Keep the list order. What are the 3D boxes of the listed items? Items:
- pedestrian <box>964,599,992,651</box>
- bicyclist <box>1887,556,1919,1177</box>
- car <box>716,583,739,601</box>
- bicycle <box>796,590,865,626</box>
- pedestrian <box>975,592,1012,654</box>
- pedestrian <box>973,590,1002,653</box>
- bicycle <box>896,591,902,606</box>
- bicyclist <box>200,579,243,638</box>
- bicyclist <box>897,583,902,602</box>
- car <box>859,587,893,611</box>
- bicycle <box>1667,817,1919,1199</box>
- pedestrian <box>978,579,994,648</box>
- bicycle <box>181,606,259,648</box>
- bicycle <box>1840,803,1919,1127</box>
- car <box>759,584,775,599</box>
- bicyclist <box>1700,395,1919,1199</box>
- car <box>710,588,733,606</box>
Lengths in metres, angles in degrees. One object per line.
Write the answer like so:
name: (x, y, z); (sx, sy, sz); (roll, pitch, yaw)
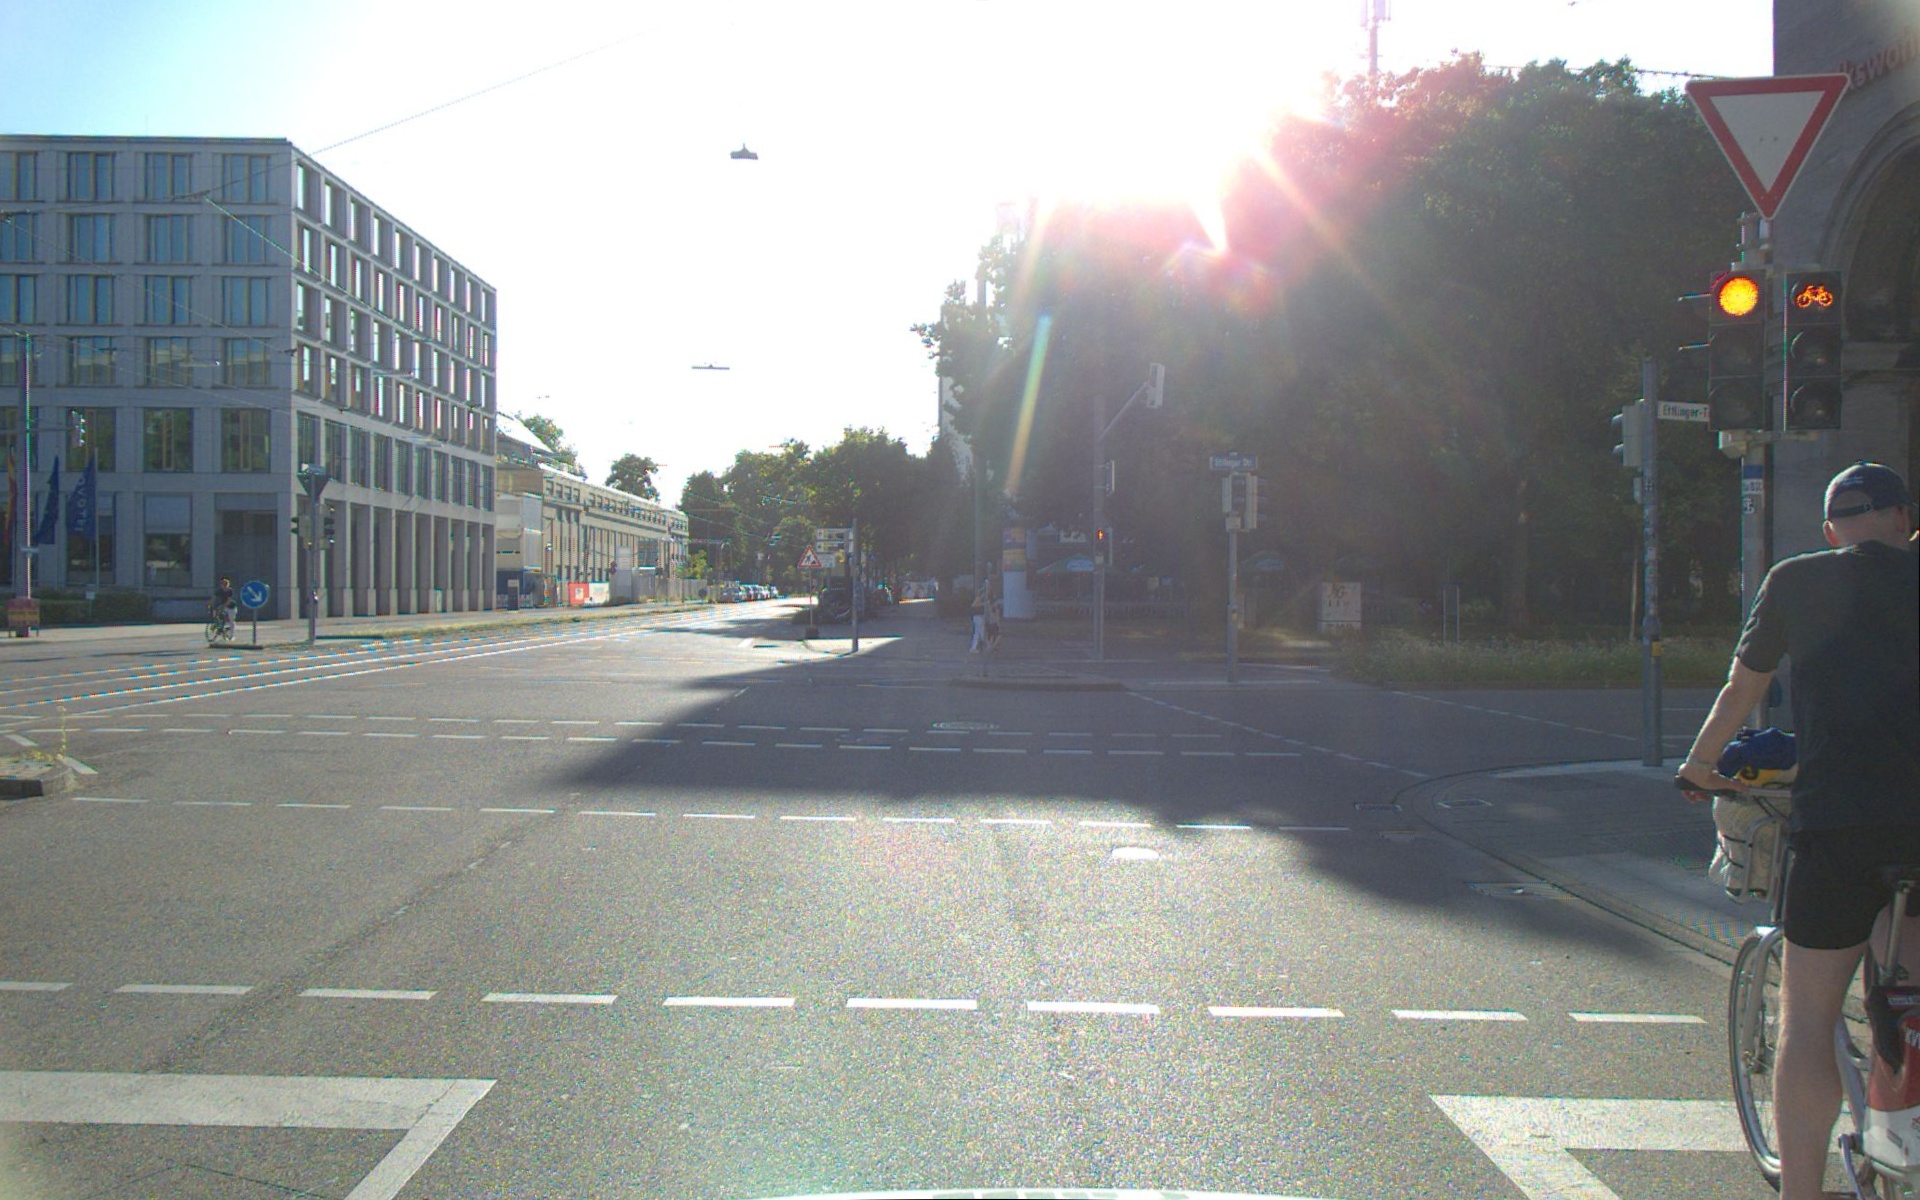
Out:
pedestrian: (0.470, 0.660, 43.558); (0.737, 1.356, 0.742); (0, 0, 0)
bicyclist: (2.883, 0.734, 4.269); (0.511, 1.709, 0.859); (0, 0, 2)
car: (-22.471, -0.797, 159.814); (1.695, 1.682, 3.999); (0, 0, -1)
bicycle: (-5.231, 0.329, 67.044); (2.688, 1.391, 0.631); (1, -1, 10)
pedestrian: (0.873, 0.593, 43.336); (0.964, 1.615, 0.660); (0, -1, 1)
pedestrian: (0.735, 0.575, 44.047); (0.779, 1.668, 0.533); (0, 0, 2)
bicycle: (-3.608, -0.073, 98.362); (0.317, 0.883, 1.483); (0, 0, -1)
bicyclist: (-21.169, 0.231, 47.445); (0.857, 1.670, 0.822); (0, 0, 0)
bicyclist: (-3.609, -0.459, 98.360); (0.312, 1.147, 0.291); (0, 0, -1)
car: (-4.573, -0.060, 90.321); (1.783, 1.301, 3.998); (0, 0, -3)
bicycle: (2.157, 1.107, 3.912); (0.381, 0.921, 1.952); (0, 0, 8)
pedestrian: (0.702, 0.361, 44.743); (0.353, 1.836, 0.507); (0, 0, 11)
bicycle: (-21.158, 0.753, 47.389); (0.857, 1.140, 3.013); (0, 0, 0)
bicycle: (3.002, 1.099, 4.325); (0.418, 0.891, 1.951); (0, 0, 2)
car: (-22.652, -0.986, 194.117); (1.453, 1.780, 3.999); (0, 0, -1)
bicyclist: (2.122, 0.425, 3.752); (0.655, 1.707, 0.657); (0, 0, 10)
car: (-22.522, -0.293, 156.172); (1.695, 1.682, 3.999); (0, 0, -1)
